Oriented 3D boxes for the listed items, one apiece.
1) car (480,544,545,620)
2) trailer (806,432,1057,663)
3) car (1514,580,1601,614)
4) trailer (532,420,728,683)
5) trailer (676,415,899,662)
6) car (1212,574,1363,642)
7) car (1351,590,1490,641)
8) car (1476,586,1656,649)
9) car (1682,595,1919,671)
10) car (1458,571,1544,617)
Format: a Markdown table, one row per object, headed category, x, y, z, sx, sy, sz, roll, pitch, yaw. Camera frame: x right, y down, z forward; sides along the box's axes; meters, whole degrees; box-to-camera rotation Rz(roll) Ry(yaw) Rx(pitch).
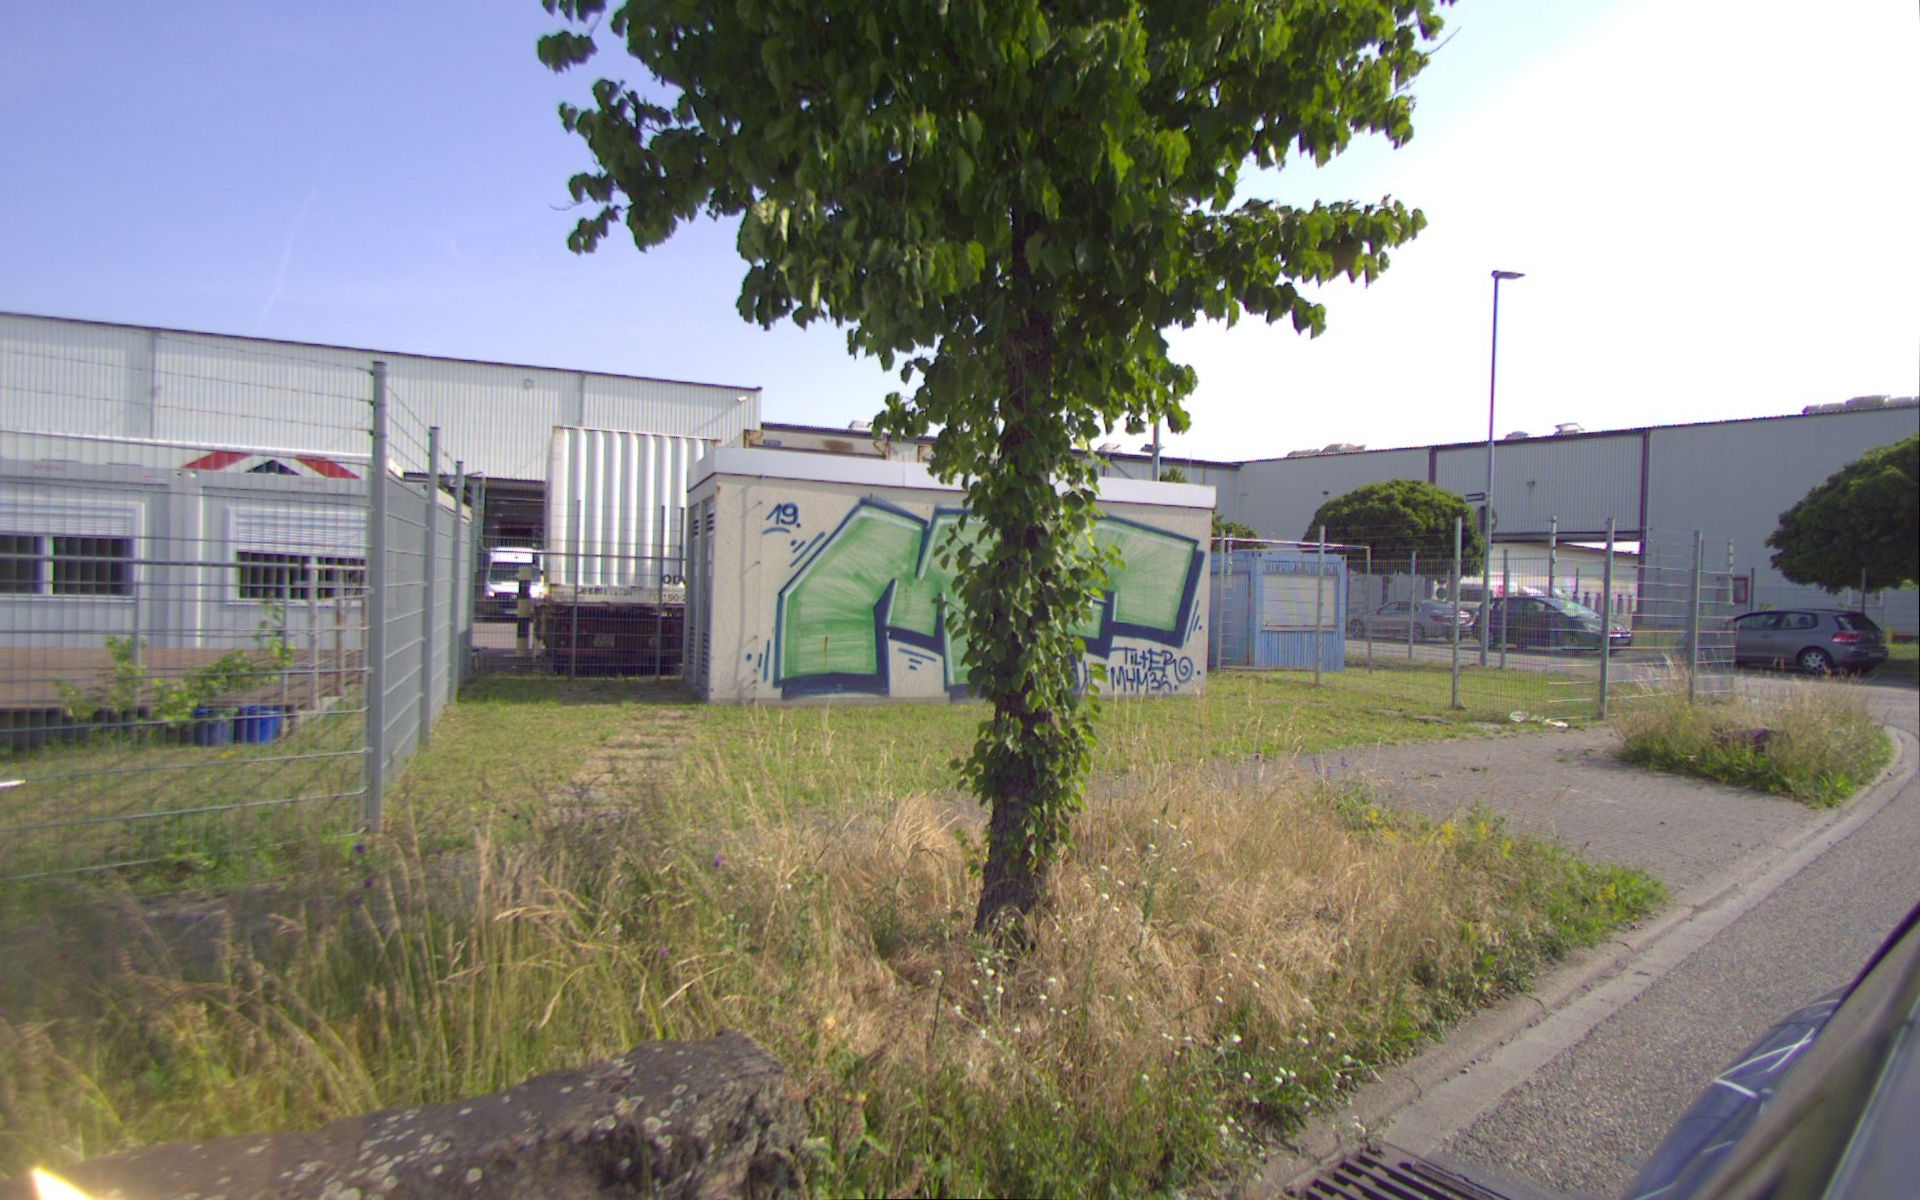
| category | x | y | z | sx | sy | sz | roll | pitch | yaw |
| --- | --- | --- | --- | --- | --- | --- | --- | --- | --- |
| car | -16.243 | -0.674 | 36.599 | 1.958 | 2.550 | 4.509 | 2 | 1 | -25 |
| trailer | -1.047 | -0.994 | 21.711 | 2.717 | 3.942 | 8.582 | -1 | 1 | -20 |
| car | 41.931 | -0.241 | 71.073 | 1.895 | 2.110 | 4.847 | 1 | 2 | -37 |
| trailer | -6.561 | -0.732 | 19.195 | 2.732 | 3.808 | 8.777 | 1 | 0 | -22 |
| trailer | -3.913 | -1.104 | 20.683 | 2.717 | 3.942 | 8.584 | 1 | 1 | -21 |
| car | 13.169 | 0.237 | 41.371 | 2.161 | 2.514 | 6.863 | -1 | 1 | -19 |
| car | 15.605 | 0.471 | 34.594 | 1.691 | 1.536 | 4.502 | -1 | 1 | -18 |
| car | 17.240 | 0.508 | 29.039 | 1.838 | 1.646 | 4.276 | 2 | -2 | -18 |
| car | 19.605 | 0.697 | 23.827 | 1.692 | 1.542 | 3.970 | -1 | 1 | -21 |
| car | 31.862 | -0.329 | 59.530 | 6.582 | 2.549 | 2.172 | 0 | 1 | -40 |
